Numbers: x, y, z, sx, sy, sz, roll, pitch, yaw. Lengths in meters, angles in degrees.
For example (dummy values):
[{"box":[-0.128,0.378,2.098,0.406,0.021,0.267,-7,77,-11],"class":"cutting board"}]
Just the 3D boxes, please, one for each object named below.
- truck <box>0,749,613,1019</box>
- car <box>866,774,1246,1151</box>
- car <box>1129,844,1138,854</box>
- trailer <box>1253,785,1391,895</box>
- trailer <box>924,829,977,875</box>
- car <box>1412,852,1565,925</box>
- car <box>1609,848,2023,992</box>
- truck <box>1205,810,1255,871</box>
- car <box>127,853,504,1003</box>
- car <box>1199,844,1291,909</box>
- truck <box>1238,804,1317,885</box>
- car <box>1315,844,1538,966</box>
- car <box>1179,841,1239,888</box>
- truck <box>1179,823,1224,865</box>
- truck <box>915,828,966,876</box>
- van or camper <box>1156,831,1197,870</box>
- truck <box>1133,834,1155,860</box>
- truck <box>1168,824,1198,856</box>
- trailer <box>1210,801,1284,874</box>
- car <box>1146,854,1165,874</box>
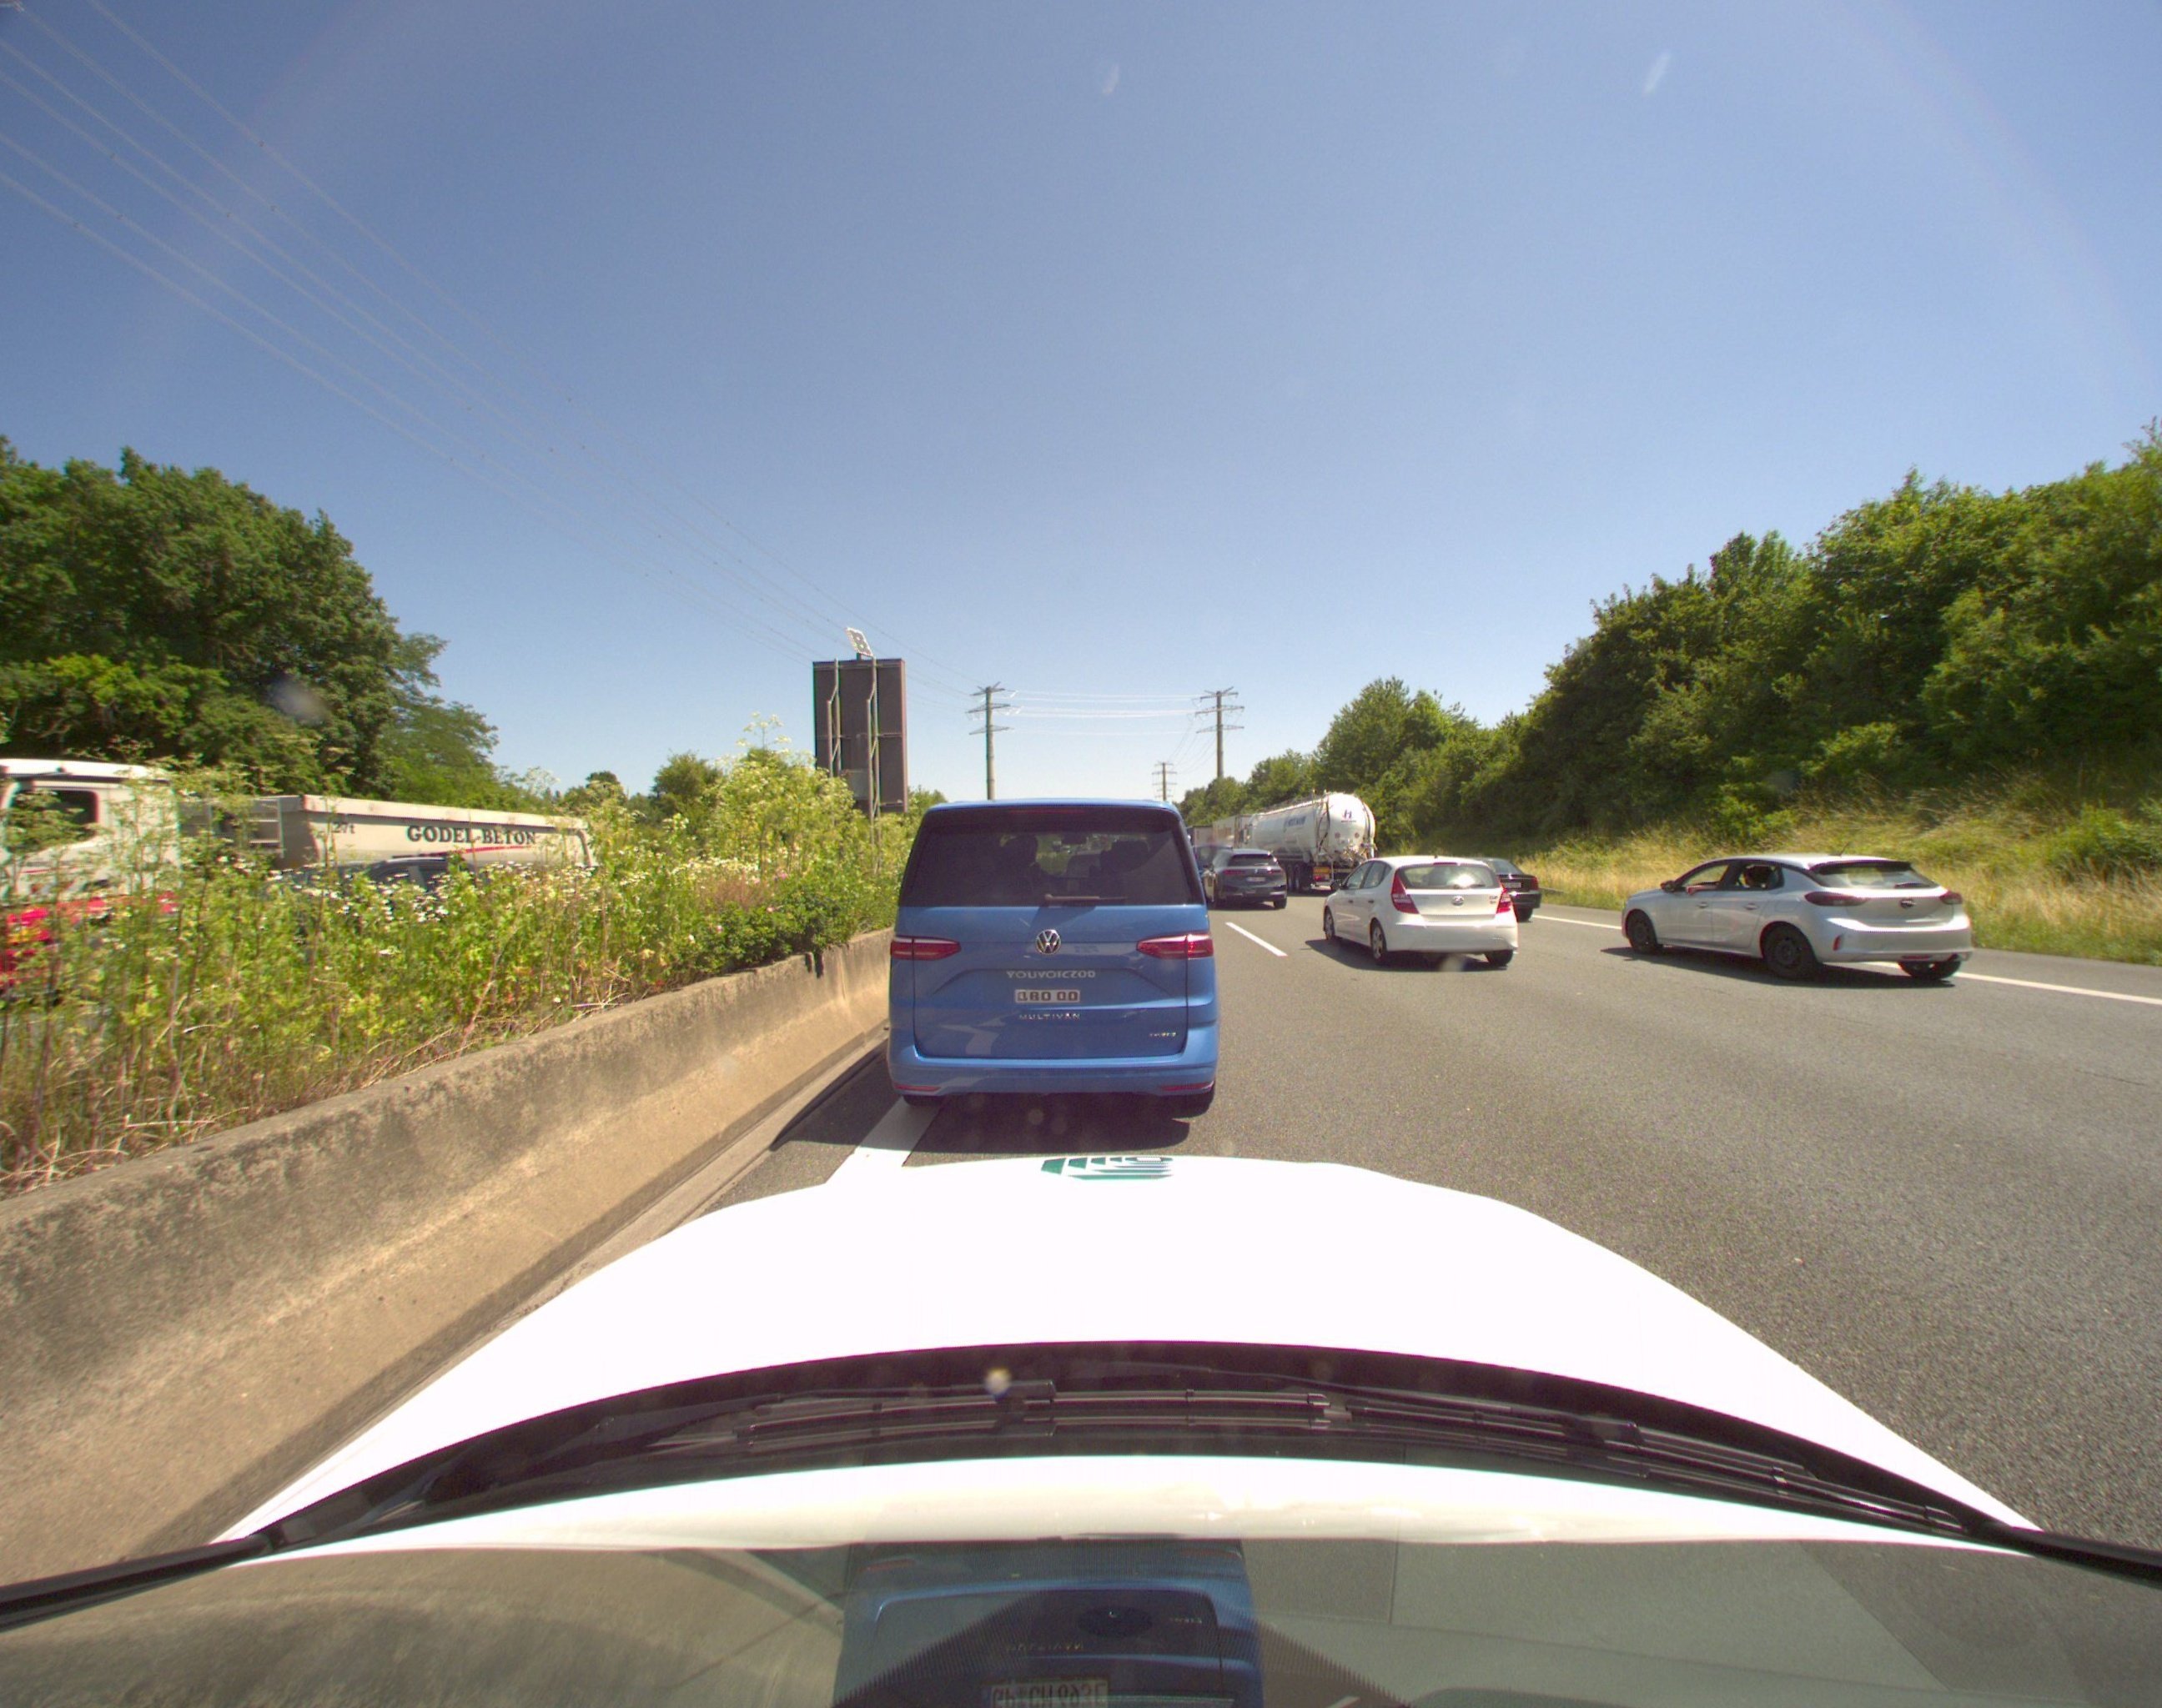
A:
[{"box":[-14.190,0.410,15.774,2.753,3.288,11.830,-2,0,3],"class":"truck"},{"box":[-0.045,0.539,6.098,1.912,1.886,4.002,0,0,2],"class":"car"},{"box":[12.018,-1.126,187.528,1.986,2.126,4.001,-1,-1,2],"class":"car"},{"box":[9.781,-0.472,34.714,2.751,3.845,11.490,-2,0,2],"class":"trailer"},{"box":[-11.429,-0.182,72.323,3.113,3.759,7.873,-1,0,2],"class":"trailer"},{"box":[9.197,0.741,18.751,1.634,1.416,3.991,-2,-1,3],"class":"car"},{"box":[8.885,0.666,10.414,1.724,1.443,4.030,-2,0,2],"class":"car"},{"box":[11.443,-0.977,62.949,2.901,4.469,5.144,-2,0,2],"class":"truck"},{"box":[-10.770,0.917,11.945,1.599,1.787,4.028,-2,0,2],"class":"car"},{"box":[4.766,0.649,24.310,1.991,1.715,4.628,-2,-1,3],"class":"car"},{"box":[9.991,-0.442,41.978,2.782,3.836,5.574,-2,0,2],"class":"truck"},{"box":[4.902,0.668,12.219,1.809,1.485,4.003,-2,-1,3],"class":"car"},{"box":[5.710,0.491,36.868,1.918,1.925,4.234,-2,-1,-1],"class":"car"},{"box":[11.842,-0.842,81.462,2.993,3.766,15.724,-1,-1,3],"class":"truck"},{"box":[-11.584,-0.169,67.752,3.060,3.709,5.465,-1,0,2],"class":"truck"},{"box":[7.784,-0.228,67.197,2.944,3.022,7.109,-1,-1,4],"class":"van or camper"},{"box":[9.344,-0.960,121.604,2.883,3.766,10.148,-1,-1,3],"class":"truck"},{"box":[13.029,-1.650,104.810,2.883,3.766,13.355,-1,-1,3],"class":"truck"},{"box":[11.236,-0.996,56.345,2.901,4.469,12.159,-2,0,2],"class":"trailer"},{"box":[8.055,1.076,87.939,1.828,1.998,4.004,-2,-1,4],"class":"car"}]
